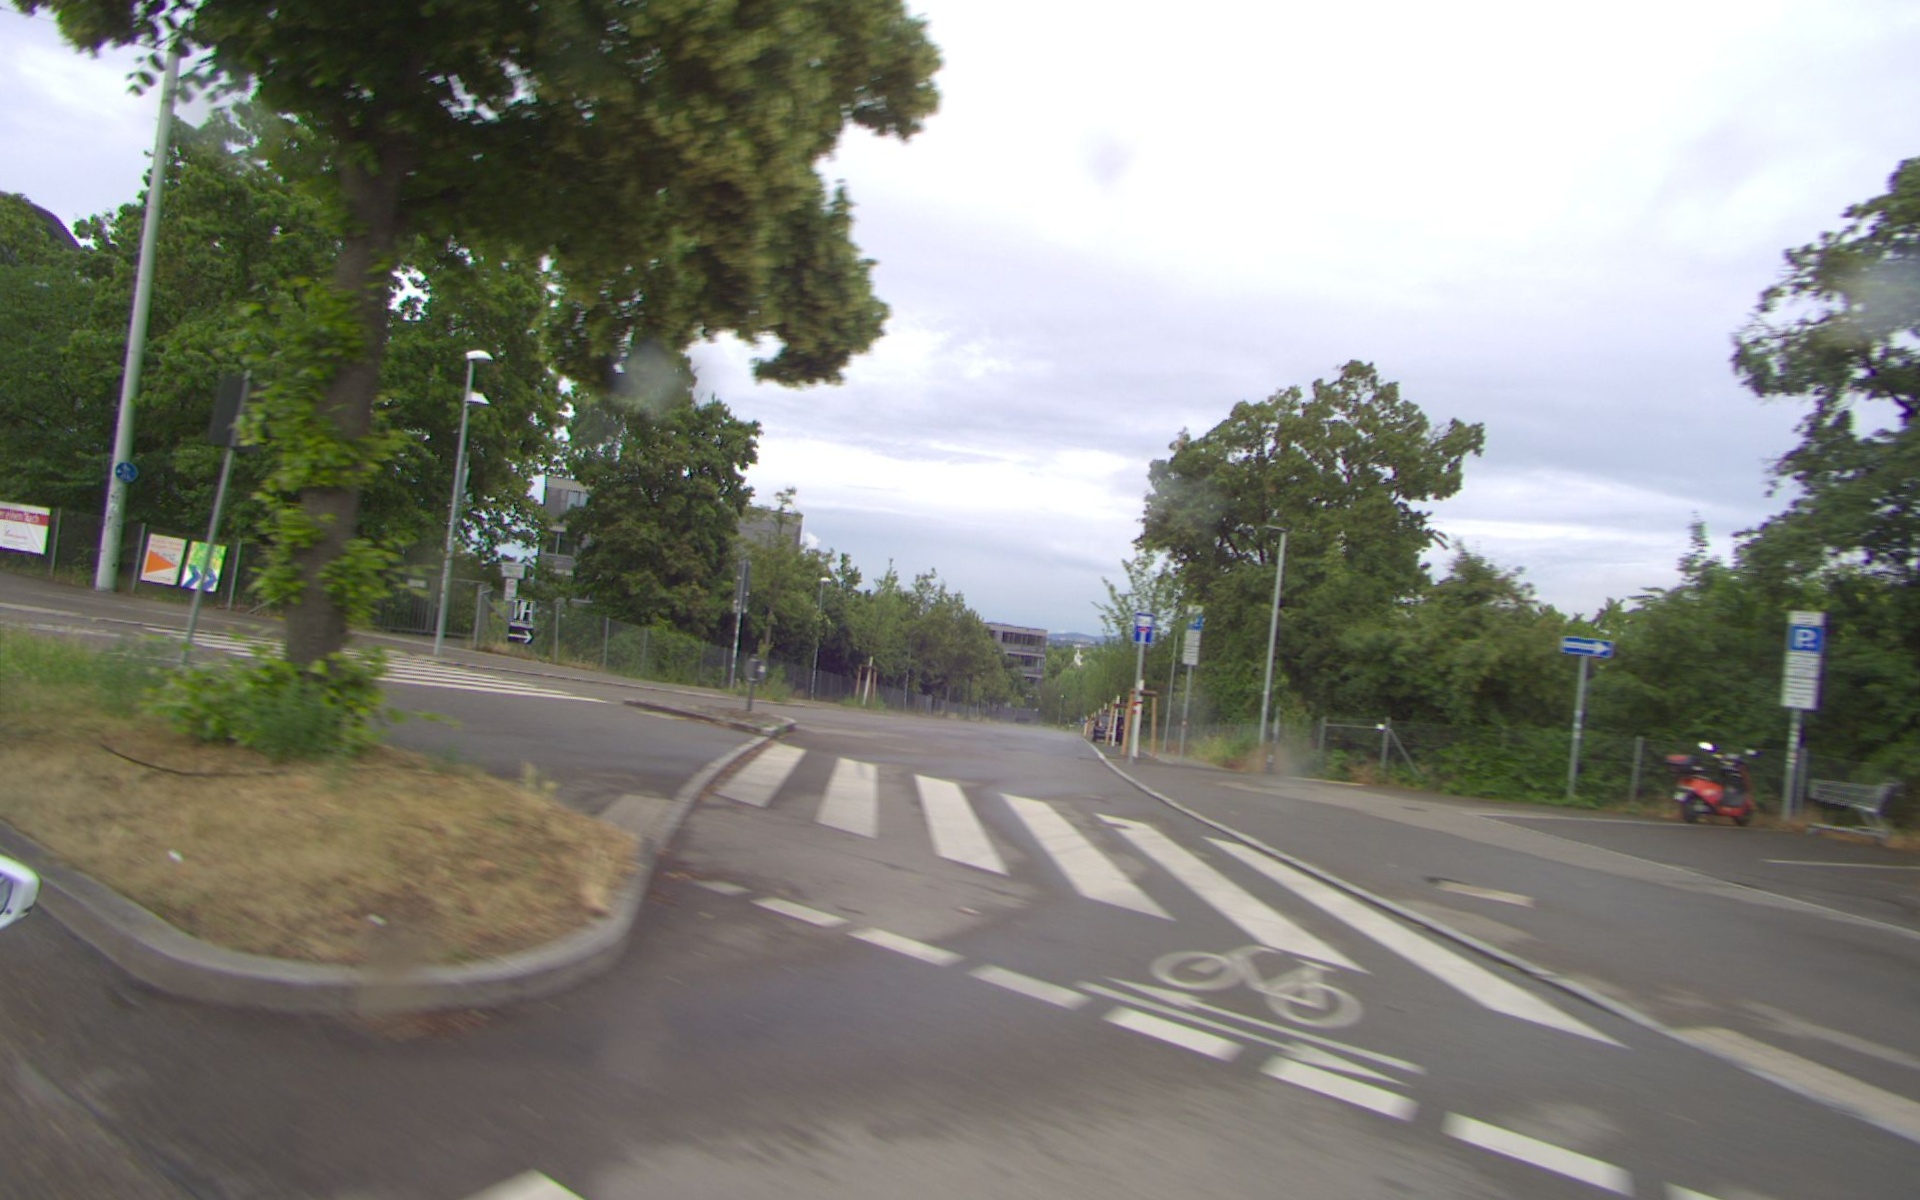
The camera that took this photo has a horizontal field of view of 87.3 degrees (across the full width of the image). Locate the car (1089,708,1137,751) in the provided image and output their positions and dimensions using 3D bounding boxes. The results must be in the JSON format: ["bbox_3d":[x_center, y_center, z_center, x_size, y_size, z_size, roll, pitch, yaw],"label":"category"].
[{"bbox_3d":[7.657,6.476,50.607,1.962,1.800,4.096,8,-5,6],"label":"car"}]

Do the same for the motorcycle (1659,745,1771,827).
[{"bbox_3d":[12.306,3.038,16.385,1.995,1.227,0.472,5,-4,-21],"label":"motorcycle"}]
